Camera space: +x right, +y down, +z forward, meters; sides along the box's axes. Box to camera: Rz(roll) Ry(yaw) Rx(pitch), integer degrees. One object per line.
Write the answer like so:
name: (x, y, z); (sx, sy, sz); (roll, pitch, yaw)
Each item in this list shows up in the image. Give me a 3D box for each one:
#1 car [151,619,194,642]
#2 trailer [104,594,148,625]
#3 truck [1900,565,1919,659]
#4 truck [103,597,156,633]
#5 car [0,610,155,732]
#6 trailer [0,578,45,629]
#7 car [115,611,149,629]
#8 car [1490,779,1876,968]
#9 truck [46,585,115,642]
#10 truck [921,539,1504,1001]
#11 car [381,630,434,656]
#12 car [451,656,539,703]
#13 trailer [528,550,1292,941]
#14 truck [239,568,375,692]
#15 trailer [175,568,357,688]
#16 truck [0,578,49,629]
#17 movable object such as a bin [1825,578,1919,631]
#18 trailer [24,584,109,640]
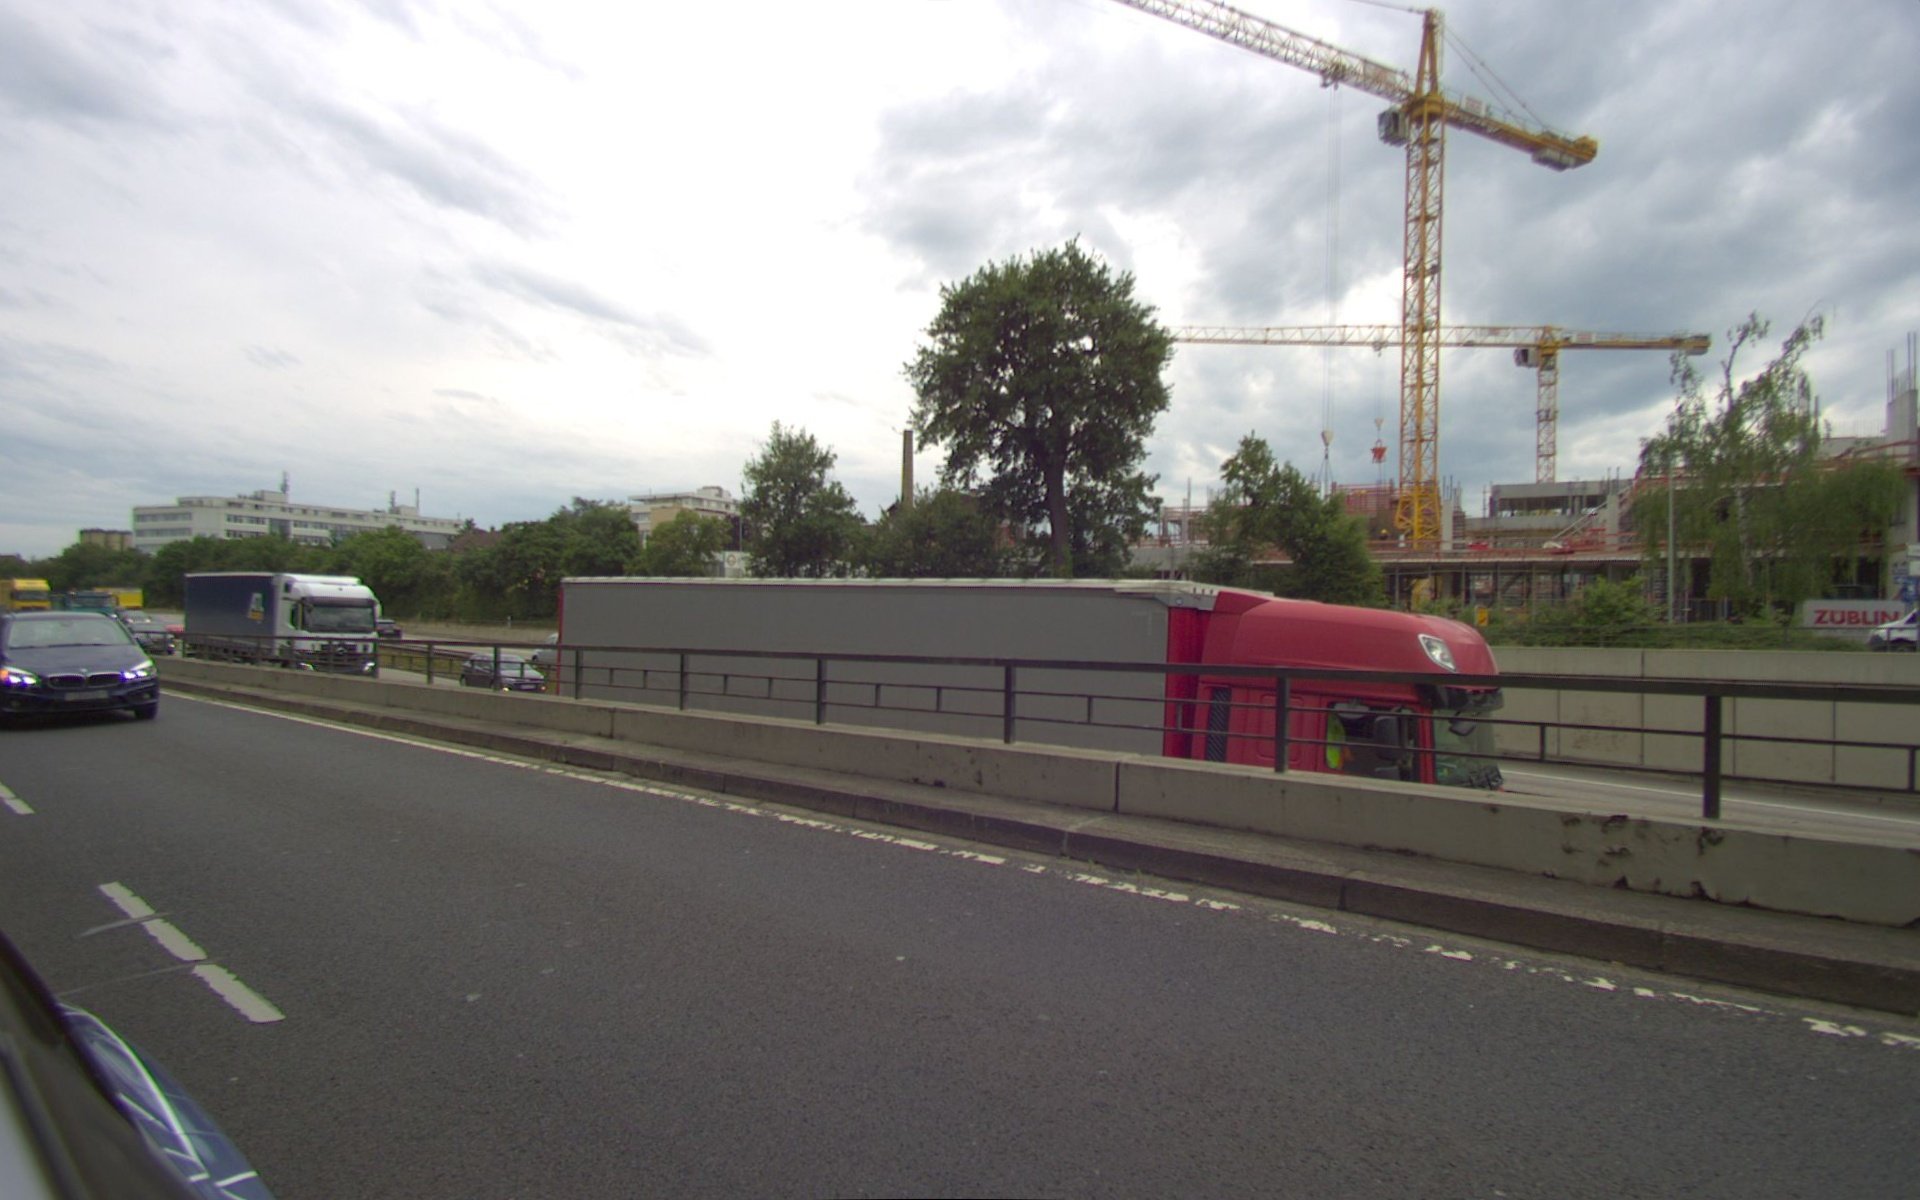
car: (-53.801, 2.049, 69.126); (3.999, 1.452, 1.606); (-1, 0, 42)
trailer: (-115.266, 1.299, 139.833); (13.772, 4.067, 2.498); (0, -2, 42)
truck: (33.306, 0.353, 30.431); (1.989, 3.009, 7.114); (0, 0, -36)
truck: (-98.238, 1.787, 119.648); (13.778, 4.067, 2.917); (0, -2, 43)
car: (-13.713, 0.949, 15.252); (4.420, 1.575, 1.761); (-1, 0, 42)
trailer: (-90.657, 0.386, 96.554); (19.916, 4.387, 2.860); (0, -2, 42)
car: (-69.486, 1.629, 84.888); (3.999, 1.452, 1.606); (-1, 0, 42)
car: (9.206, 3.364, 13.098); (3.896, 1.452, 1.606); (0, -2, 42)
truck: (-59.193, 0.897, 68.063); (6.666, 3.663, 2.611); (0, -2, 42)
truck: (2.705, 1.542, 12.019); (6.201, 4.067, 2.676); (0, -2, 42)
car: (-33.801, 2.581, 61.883); (3.999, 1.452, 1.606); (-1, 0, 42)
car: (-16.853, 2.826, 36.604); (3.899, 1.452, 1.605); (0, -2, 45)
trailer: (-2.212, 1.580, 16.351); (14.547, 4.067, 2.624); (0, -2, 41)
truck: (-23.460, 1.036, 36.261); (6.095, 4.067, 2.498); (0, -2, 42)
trailer: (-28.081, 1.022, 40.428); (14.780, 4.067, 2.497); (0, -2, 42)
truck: (-83.881, 0.361, 90.443); (6.517, 4.377, 2.855); (0, -2, 42)
movable object such as a bin: (38.013, 0.183, 41.963); (3.055, 2.029, 1.741); (0, -5, 34)
trailer: (-64.347, 0.886, 72.684); (16.745, 3.668, 2.579); (0, -2, 42)
